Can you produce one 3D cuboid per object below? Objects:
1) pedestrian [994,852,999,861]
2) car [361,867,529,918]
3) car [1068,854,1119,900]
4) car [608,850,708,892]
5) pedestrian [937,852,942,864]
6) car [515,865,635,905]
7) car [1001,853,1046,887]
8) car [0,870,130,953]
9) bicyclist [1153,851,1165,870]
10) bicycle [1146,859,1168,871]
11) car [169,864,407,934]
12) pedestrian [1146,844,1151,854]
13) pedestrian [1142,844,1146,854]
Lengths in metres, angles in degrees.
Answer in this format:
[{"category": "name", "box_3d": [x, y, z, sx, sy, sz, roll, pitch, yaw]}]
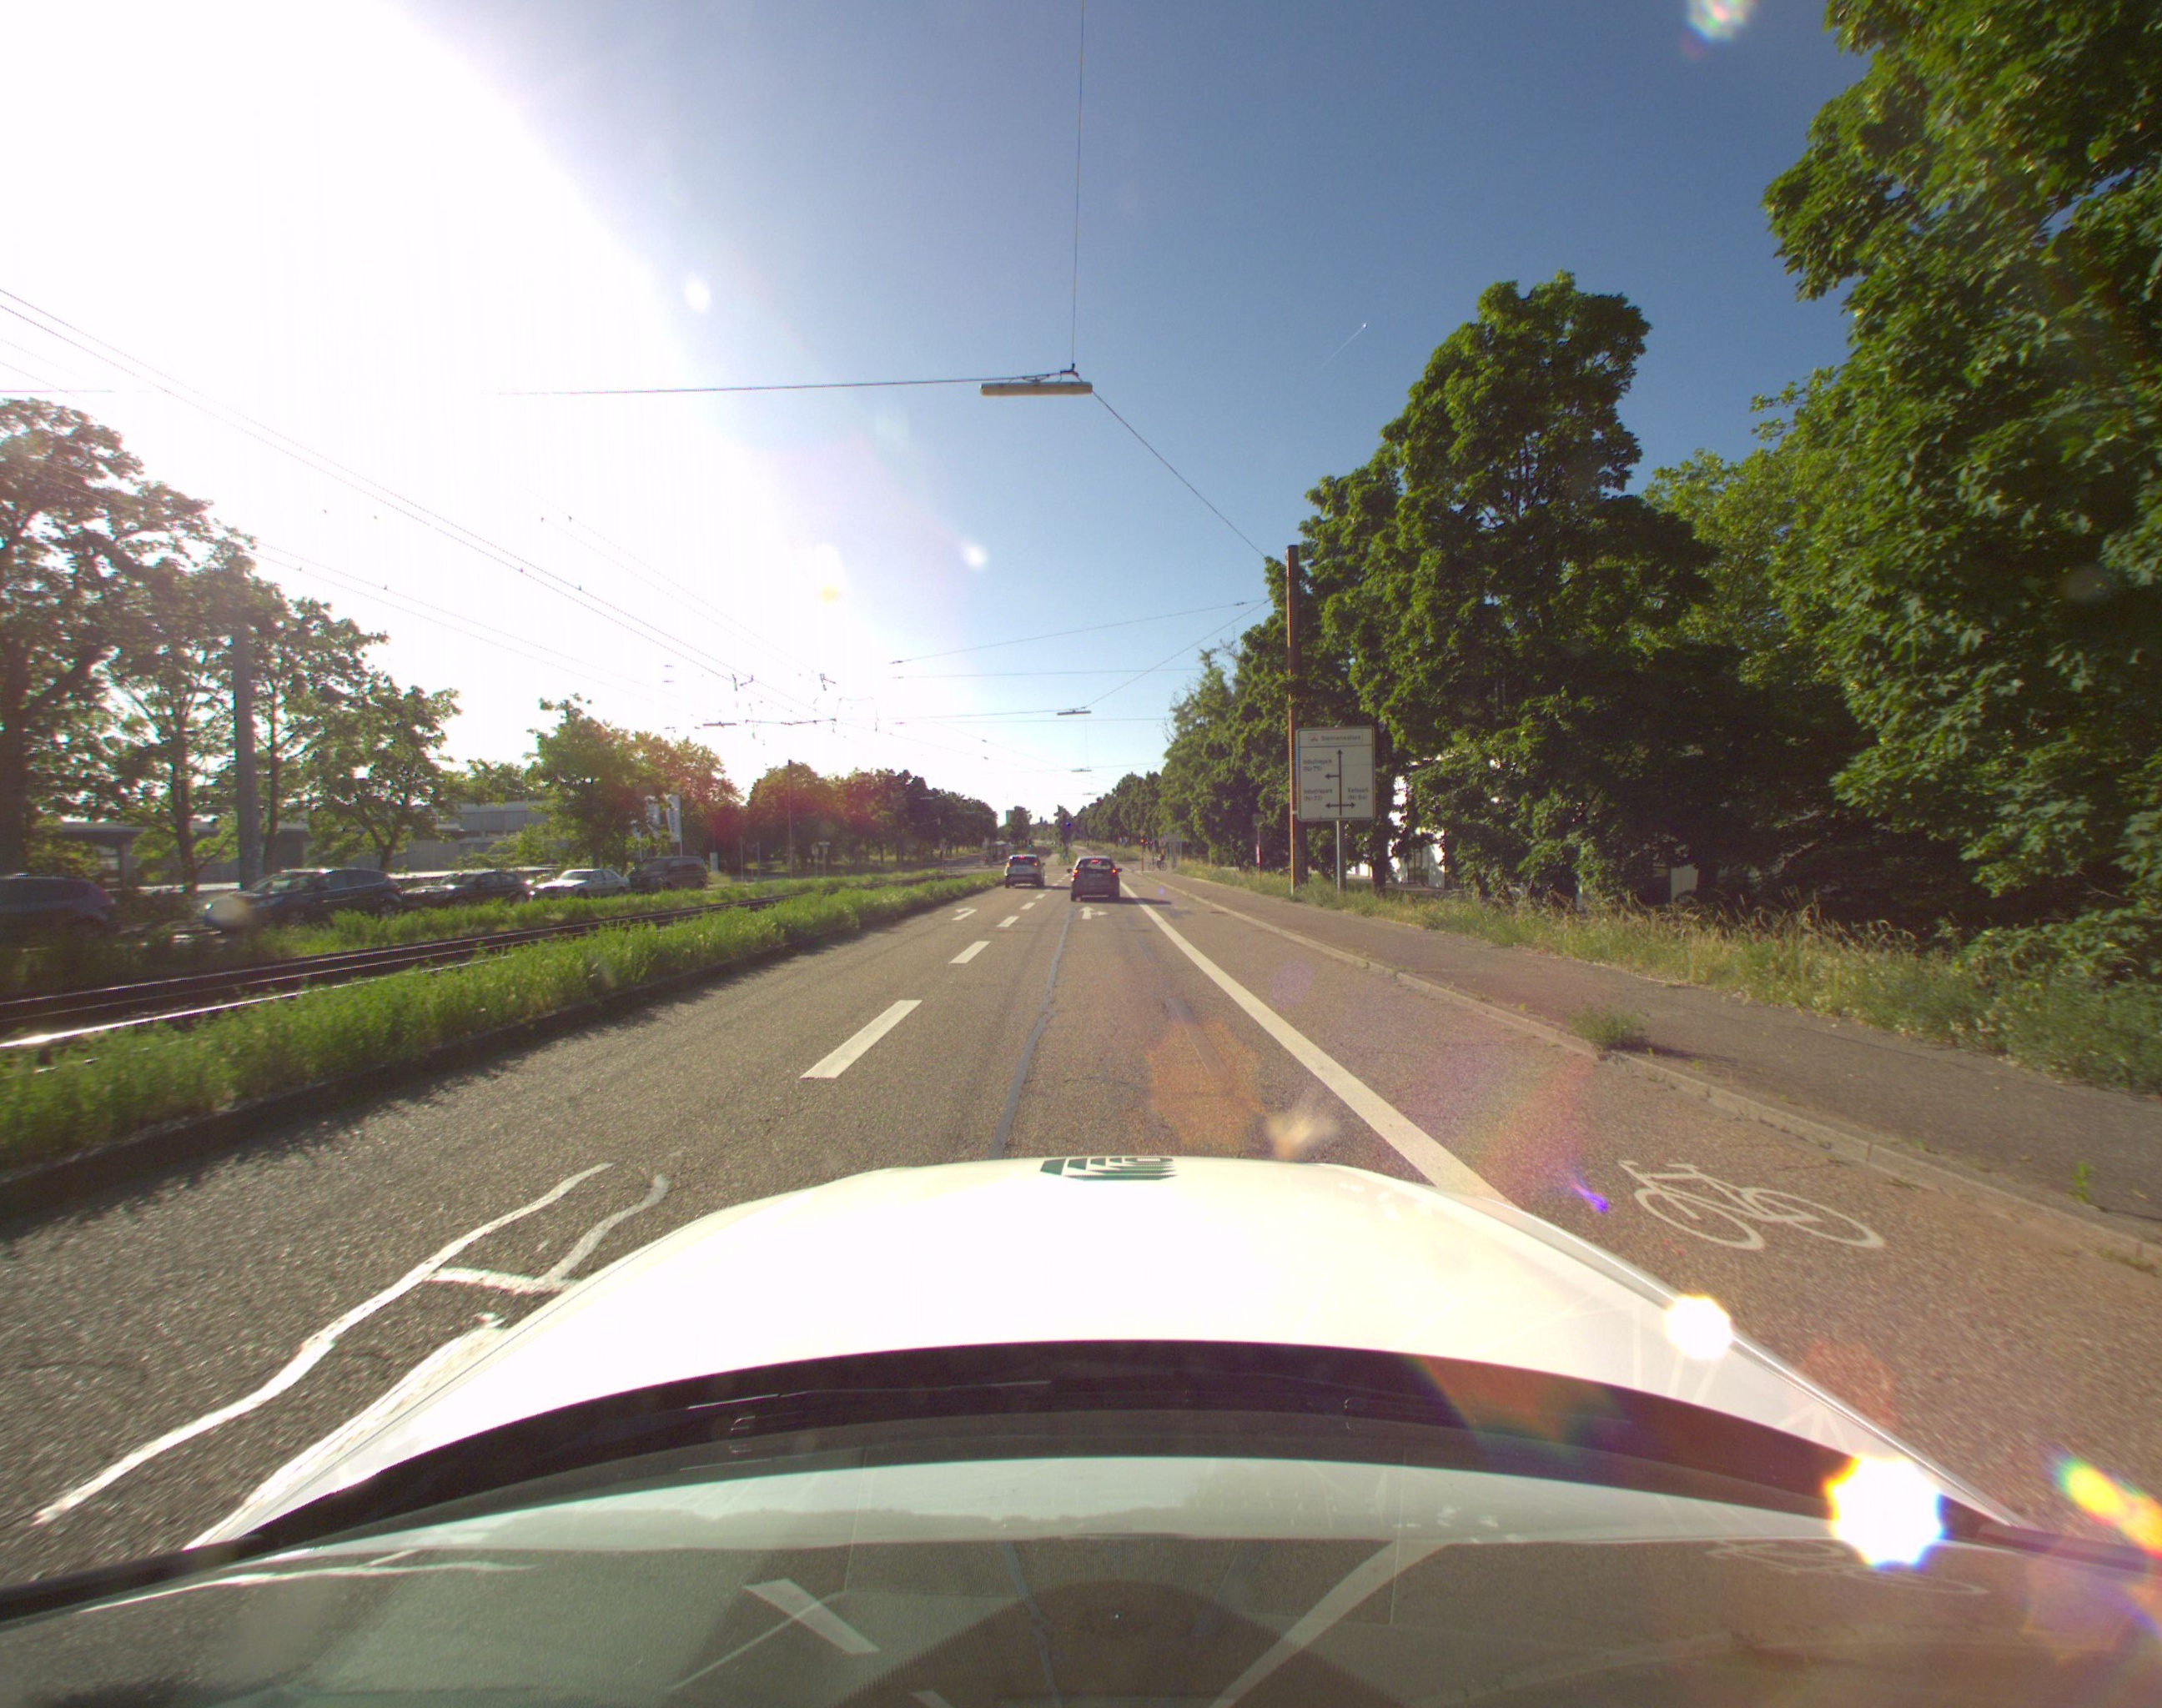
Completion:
[{"category": "pedestrian", "box_3d": [-12.503, 0.334, 120.569, 0.719, 1.246, 0.710, -1, 0, -1]}, {"category": "car", "box_3d": [-20.784, 1.203, 26.901, 1.986, 1.437, 4.415, 0, 0, 1]}, {"category": "car", "box_3d": [0.470, 0.752, 28.830, 1.700, 1.509, 4.001, 0, 0, 2]}, {"category": "car", "box_3d": [-20.547, 0.777, 39.868, 2.188, 1.891, 4.794, 0, 0, 3]}, {"category": "pedestrian", "box_3d": [-24.691, 0.693, 142.248, 0.837, 2.013, 0.863, 0, 0, -1]}, {"category": "car", "box_3d": [-20.656, 1.205, 33.502, 1.921, 1.437, 4.695, 0, 0, 1]}, {"category": "car", "box_3d": [-2.785, 0.750, 40.146, 1.844, 1.606, 4.255, 0, 0, 0]}, {"category": "car", "box_3d": [-20.760, 1.071, 14.852, 1.730, 1.494, 4.325, 1, -1, -1]}, {"category": "bicyclist", "box_3d": [7.111, 0.597, 74.079, 0.904, 1.745, 0.767, -2, -1, 11]}, {"category": "bicycle", "box_3d": [6.916, 0.974, 74.116, 1.907, 0.998, 0.767, -3, -1, 11]}, {"category": "car", "box_3d": [-20.692, 1.101, 21.582, 1.987, 1.574, 4.433, 0, 0, -1]}, {"category": "pedestrian", "box_3d": [10.696, -0.825, 128.765, 0.676, 1.610, 0.720, 1, 0, -2]}, {"category": "pedestrian", "box_3d": [9.922, -0.725, 128.839, 0.566, 1.596, 0.665, 1, 0, -3]}]
